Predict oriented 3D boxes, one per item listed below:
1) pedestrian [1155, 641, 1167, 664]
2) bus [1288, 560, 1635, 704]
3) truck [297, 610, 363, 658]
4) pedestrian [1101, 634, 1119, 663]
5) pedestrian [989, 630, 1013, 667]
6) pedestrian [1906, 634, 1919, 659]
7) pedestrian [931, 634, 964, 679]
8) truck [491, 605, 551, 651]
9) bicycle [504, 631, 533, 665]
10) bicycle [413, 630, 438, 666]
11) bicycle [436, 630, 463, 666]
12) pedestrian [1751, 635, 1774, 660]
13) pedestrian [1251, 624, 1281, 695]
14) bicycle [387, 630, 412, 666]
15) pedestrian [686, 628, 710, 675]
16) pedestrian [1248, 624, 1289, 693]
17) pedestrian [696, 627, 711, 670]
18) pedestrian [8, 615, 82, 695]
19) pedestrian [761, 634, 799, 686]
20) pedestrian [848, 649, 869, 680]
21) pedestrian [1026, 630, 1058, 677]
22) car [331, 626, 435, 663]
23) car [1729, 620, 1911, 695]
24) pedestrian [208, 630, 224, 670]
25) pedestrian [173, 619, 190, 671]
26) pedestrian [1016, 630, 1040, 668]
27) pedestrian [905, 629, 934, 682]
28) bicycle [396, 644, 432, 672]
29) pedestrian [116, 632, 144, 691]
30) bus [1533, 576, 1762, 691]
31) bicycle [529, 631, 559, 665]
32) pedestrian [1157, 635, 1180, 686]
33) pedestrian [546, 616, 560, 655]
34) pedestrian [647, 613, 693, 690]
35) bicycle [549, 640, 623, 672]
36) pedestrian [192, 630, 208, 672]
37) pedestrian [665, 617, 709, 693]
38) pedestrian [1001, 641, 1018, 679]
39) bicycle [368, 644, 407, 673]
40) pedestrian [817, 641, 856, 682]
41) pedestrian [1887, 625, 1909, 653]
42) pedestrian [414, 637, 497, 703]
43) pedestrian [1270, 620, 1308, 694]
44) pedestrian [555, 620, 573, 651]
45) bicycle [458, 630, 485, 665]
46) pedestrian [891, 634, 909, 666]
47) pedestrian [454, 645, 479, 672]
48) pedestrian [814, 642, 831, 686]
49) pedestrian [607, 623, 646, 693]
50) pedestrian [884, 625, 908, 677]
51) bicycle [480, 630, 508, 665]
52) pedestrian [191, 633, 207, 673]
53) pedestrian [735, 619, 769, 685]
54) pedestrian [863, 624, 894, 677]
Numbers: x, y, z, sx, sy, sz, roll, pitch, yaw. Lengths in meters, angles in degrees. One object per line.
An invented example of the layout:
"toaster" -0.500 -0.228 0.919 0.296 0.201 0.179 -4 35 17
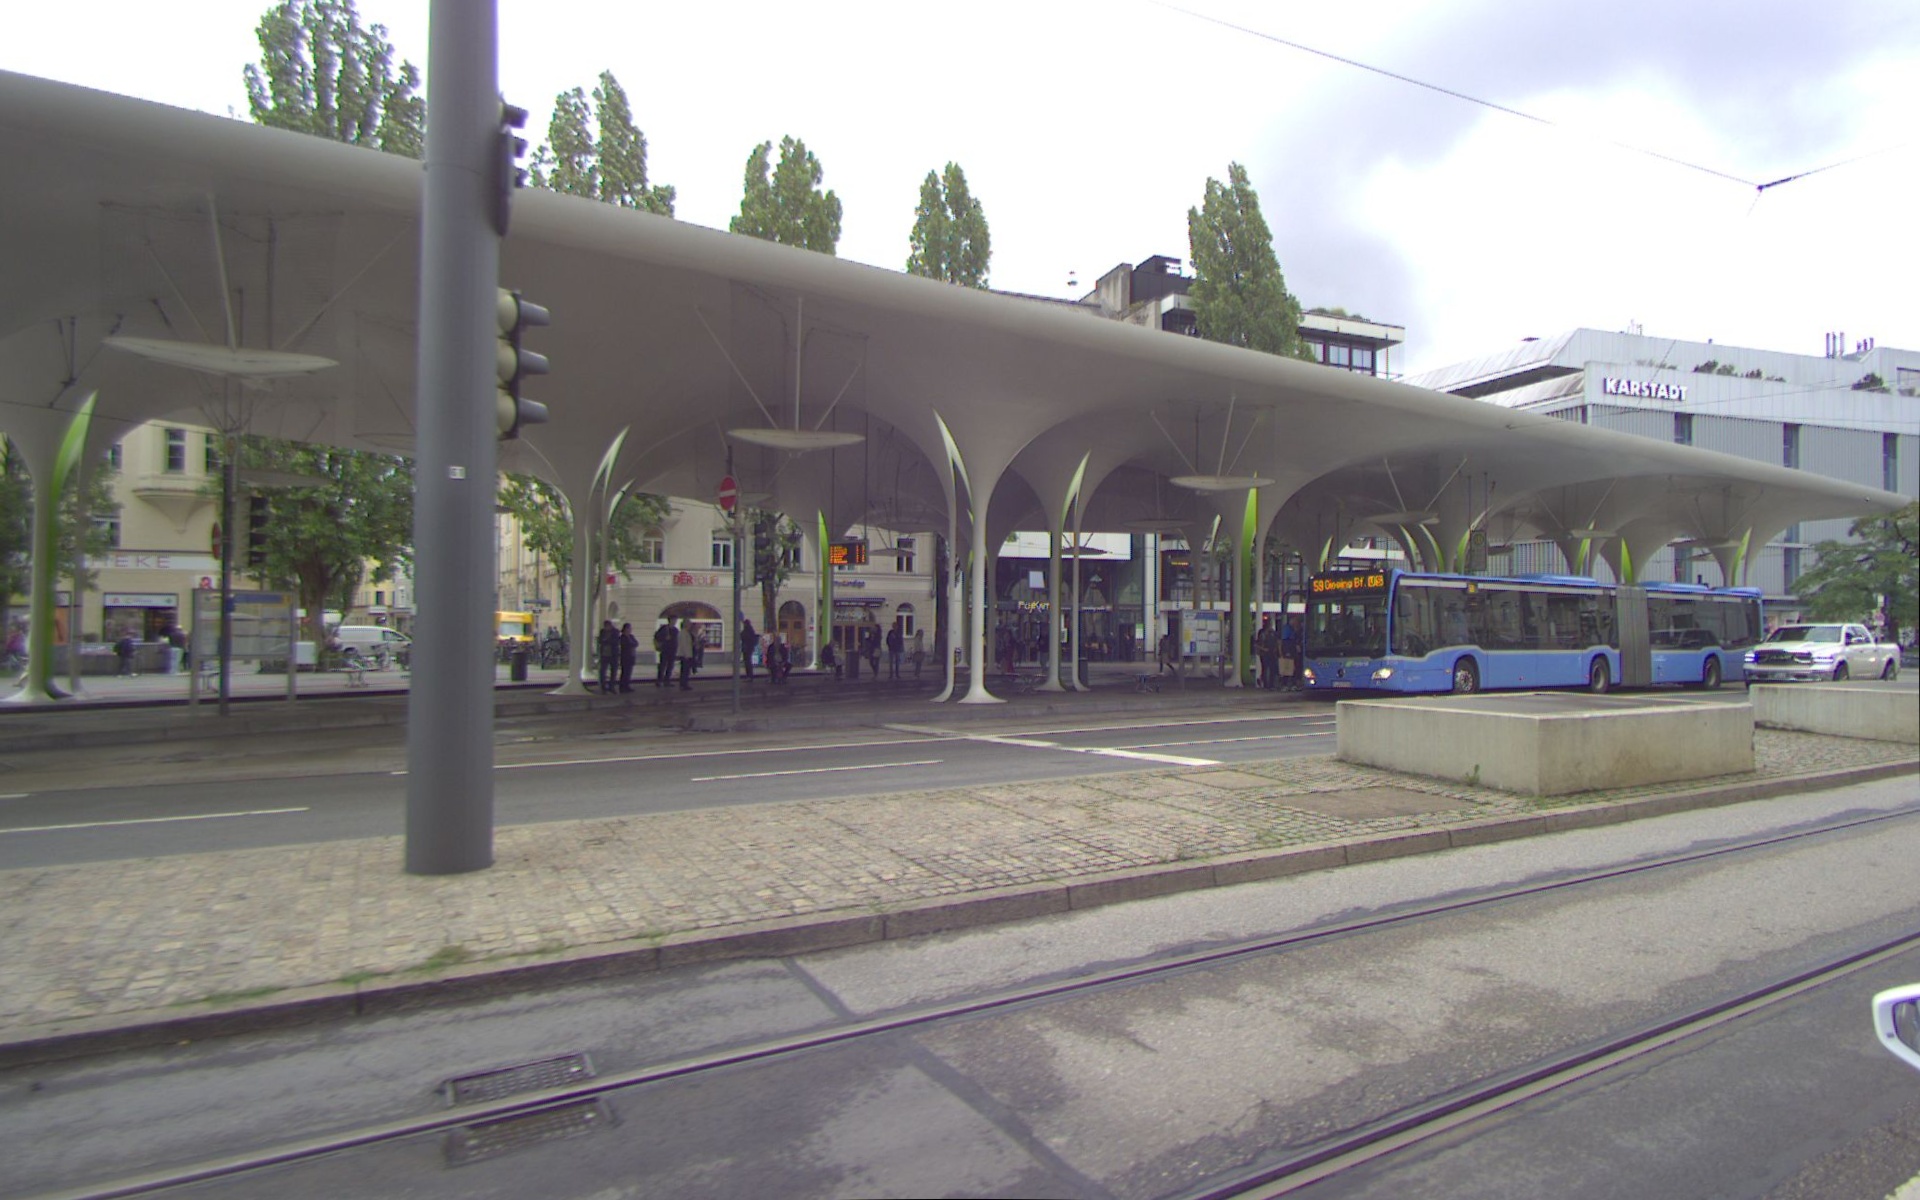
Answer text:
"pedestrian" 11.995 3.135 59.922 0.567 1.351 0.512 1 -1 -11
"bus" 12.792 0.855 25.083 10.397 3.046 2.647 1 -4 -32
"truck" -36.427 1.949 58.206 2.259 2.658 5.324 1 -2 -22
"pedestrian" 8.840 2.844 59.147 0.762 1.683 0.779 1 -1 -20
"pedestrian" 1.974 2.358 48.995 0.981 1.796 0.931 1 -1 -10
"pedestrian" 57.987 2.811 60.881 0.737 1.513 0.772 0 -1 26
"pedestrian" -0.424 1.927 34.747 0.888 1.528 0.738 2 -2 -37
"truck" -25.911 1.669 59.128 2.412 2.546 7.126 1 -2 -30
"bicycle" -22.199 2.372 50.413 0.989 1.634 3.598 1 -2 -29
"bicycle" -25.814 2.284 48.477 0.989 1.634 3.598 1 -2 -29
"bicycle" -24.911 2.305 48.980 0.989 1.634 3.598 1 -2 -29
"pedestrian" 52.665 3.128 65.909 0.962 1.602 0.796 1 -1 -18
"pedestrian" 7.632 1.476 25.074 0.567 1.756 0.501 2 -2 -38
"bicycle" -26.781 2.260 48.000 0.989 1.634 3.598 1 -2 -29
"pedestrian" -9.391 1.828 35.950 0.635 1.669 0.596 1 -2 -37
"pedestrian" 8.051 1.508 26.227 0.706 1.744 0.876 -1 -2 45
"pedestrian" -11.085 2.106 43.418 0.546 1.838 0.556 1 -1 -18
"pedestrian" -23.739 1.410 26.081 1.010 2.040 1.002 1 -1 -14
"pedestrian" -4.886 1.613 27.216 0.829 1.388 0.961 1 -1 -23
"pedestrian" -3.314 2.096 32.651 0.450 1.002 0.513 0 -2 34
"pedestrian" 3.086 2.000 37.760 0.883 1.753 0.869 1 -2 -23
"car" -31.257 2.406 54.480 4.755 1.945 1.981 2 -2 -35
"car" 24.173 1.559 28.161 6.088 1.912 2.164 2 -2 -32
"pedestrian" -30.761 2.057 41.521 0.452 1.647 0.577 1 1 -32
"pedestrian" -31.166 1.778 40.198 0.452 2.040 0.577 1 1 -32
"pedestrian" 3.328 2.393 49.263 0.981 1.796 0.931 1 -1 -10
"pedestrian" -1.281 1.750 31.668 0.690 1.639 0.644 1 -2 -26
"bicycle" -23.771 2.515 43.752 0.726 1.149 2.677 1 -2 -14
"pedestrian" -28.995 2.141 35.110 0.686 2.040 0.692 1 -2 -37
"bus" 20.429 1.034 29.722 7.426 3.046 2.648 1 -3 -31
"bicycle" -21.172 2.396 51.064 0.989 1.634 3.598 1 -2 -29
"pedestrian" 8.561 2.473 41.244 0.889 2.040 0.673 0 -1 7
"pedestrian" -21.957 1.914 54.144 0.562 2.040 0.668 1 -1 -13
"pedestrian" -7.372 1.295 25.555 0.703 1.897 0.874 -1 -2 41
"bicycle" -16.323 2.443 43.916 2.886 1.331 0.841 1 -2 -6
"pedestrian" -30.683 2.063 40.553 0.452 1.647 0.577 1 1 -32
"pedestrian" -6.449 1.279 23.712 0.799 1.750 0.668 -1 -2 44
"pedestrian" 1.722 2.066 34.693 0.563 1.282 0.520 0 -2 5
"bicycle" -24.683 2.493 43.345 0.726 1.149 2.677 1 -2 -14
"pedestrian" -3.693 1.819 30.008 0.867 1.170 0.908 1 1 -29
"pedestrian" 58.761 2.436 62.932 0.774 1.710 0.862 0 -2 26
"pedestrian" -9.854 1.363 19.672 1.248 1.246 0.811 1 -1 -11
"pedestrian" 7.965 1.367 24.341 0.750 1.766 0.560 1 -2 -39
"pedestrian" -23.420 2.092 59.408 0.791 1.807 0.951 1 -1 -30
"bicycle" -24.036 2.327 49.380 0.989 1.634 3.598 1 -2 -29
"pedestrian" -3.224 2.694 54.160 0.742 1.699 0.790 1 -2 -20
"pedestrian" -21.619 2.549 44.025 0.606 1.097 1.835 1 -2 -15
"pedestrian" -6.909 3.211 50.442 0.716 2.201 0.556 1 -1 -19
"pedestrian" -7.635 1.314 23.017 0.586 1.565 0.634 -1 -2 43
"pedestrian" -2.134 1.686 33.492 0.635 1.719 0.700 0 -2 11
"bicycle" -23.184 2.348 49.923 0.989 1.634 3.598 1 -2 -29
"pedestrian" -31.386 2.186 41.412 0.453 1.612 0.519 1 1 -32
"pedestrian" -5.891 1.464 28.456 0.772 1.812 0.760 1 -1 -27
"pedestrian" -2.467 1.523 30.376 0.652 1.585 0.640 -1 -2 35
